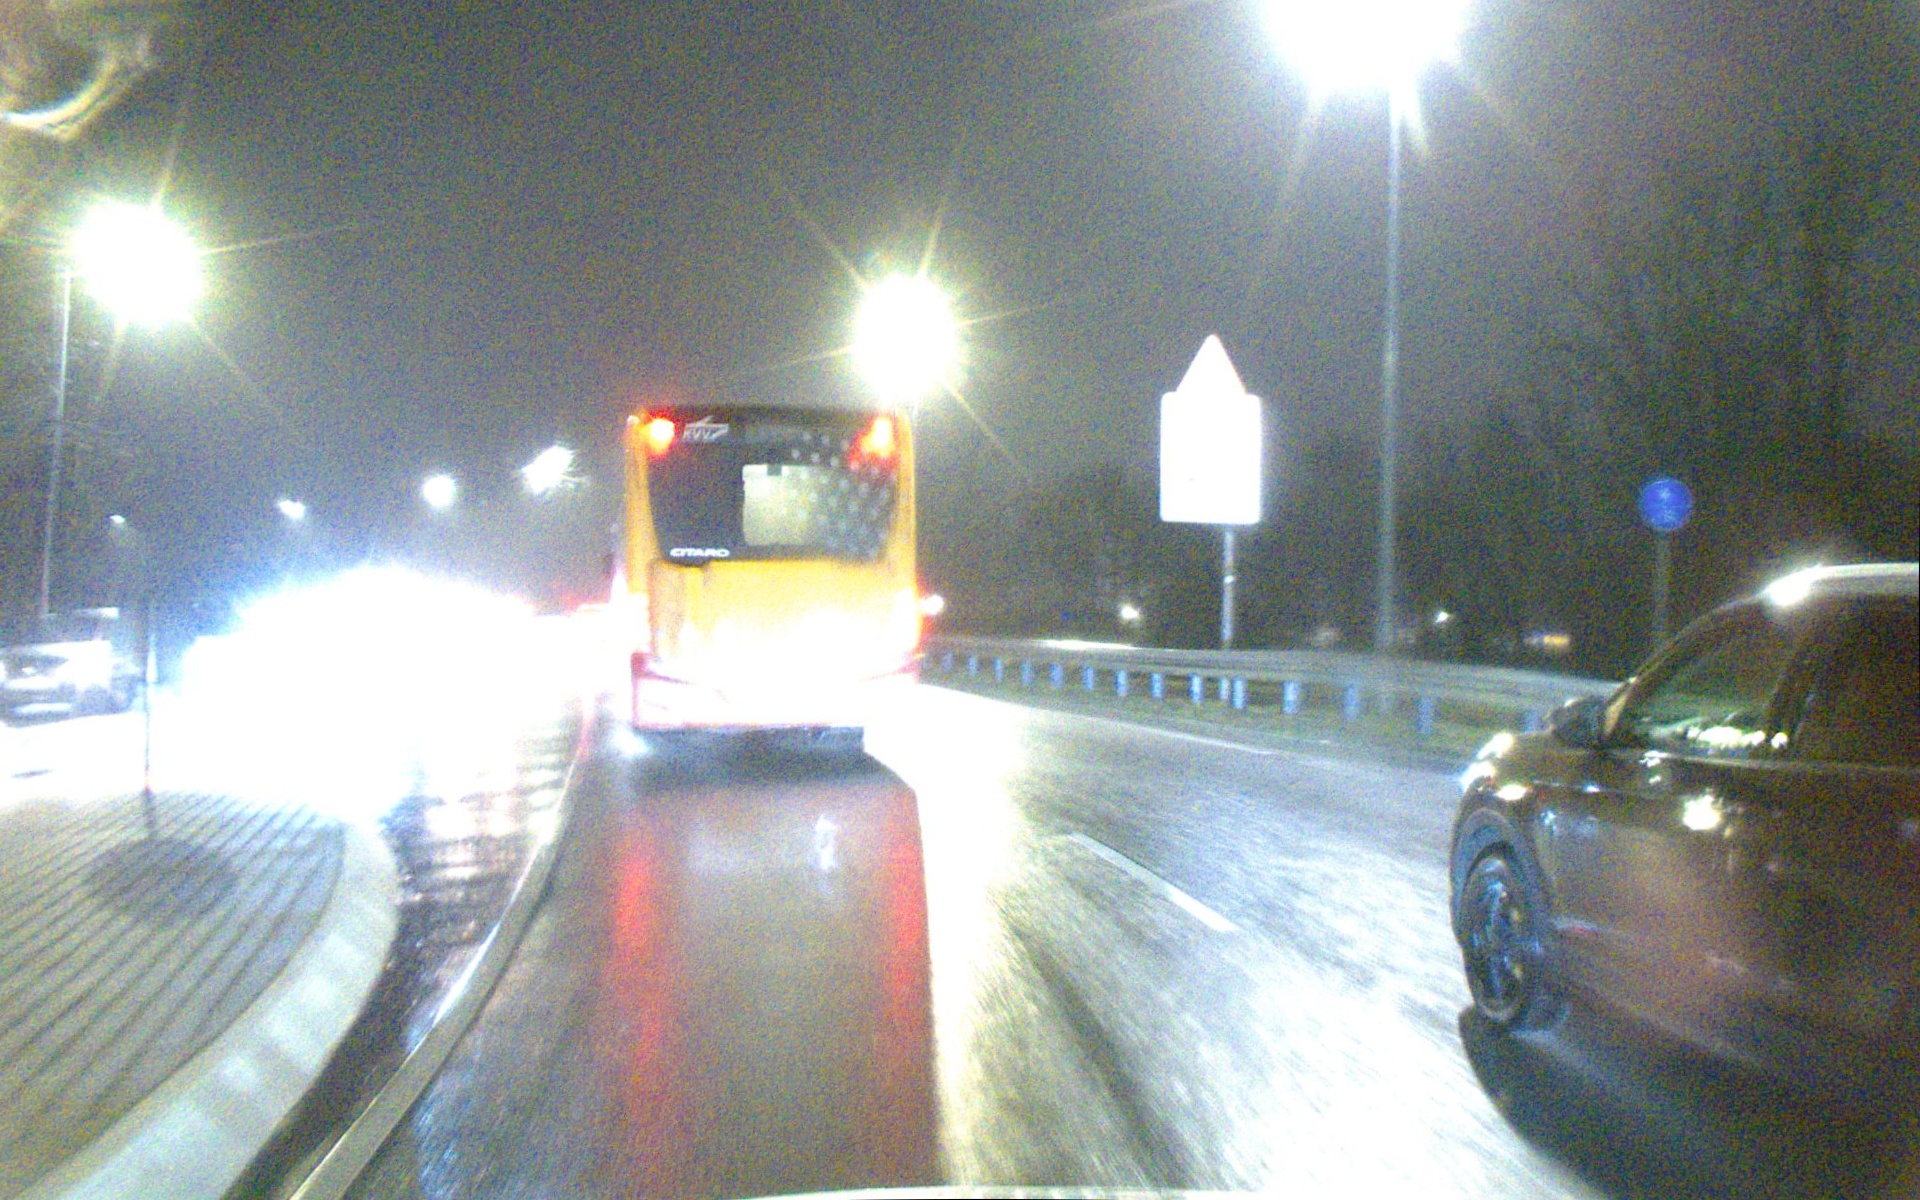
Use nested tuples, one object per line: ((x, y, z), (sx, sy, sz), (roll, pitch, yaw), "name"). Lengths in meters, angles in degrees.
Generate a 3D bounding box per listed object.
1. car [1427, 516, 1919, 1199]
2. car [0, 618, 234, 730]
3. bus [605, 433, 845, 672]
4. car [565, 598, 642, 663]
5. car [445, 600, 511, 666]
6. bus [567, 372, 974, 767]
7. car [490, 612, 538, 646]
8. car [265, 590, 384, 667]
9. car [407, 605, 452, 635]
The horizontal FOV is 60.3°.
((2.806, 0.636, 4.465), (1.644, 1.548, 3.955), (2, -2, -5), "car")
((-12.677, 1.055, 24.689), (1.787, 1.474, 4.656), (2, -2, -3), "car")
((-4.111, -0.682, 27.017), (3.190, 3.175, 8.619), (2, 0, -12), "bus")
((-12.039, 1.048, 55.651), (1.964, 2.049, 4.324), (2, -2, -19), "car")
((-15.766, 1.060, 53.965), (1.963, 2.049, 4.326), (-1, -1, -18), "car")
((-2.365, -0.436, 17.986), (3.226, 3.103, 9.521), (1, 2, -11), "bus")
((-22.247, 1.448, 82.490), (1.791, 1.646, 3.972), (2, -2, -22), "car")
((-14.459, 0.599, 37.861), (1.848, 1.635, 4.645), (0, 0, -13), "car")
((-30.324, 1.152, 94.552), (1.795, 1.646, 3.964), (2, -2, -27), "car")
